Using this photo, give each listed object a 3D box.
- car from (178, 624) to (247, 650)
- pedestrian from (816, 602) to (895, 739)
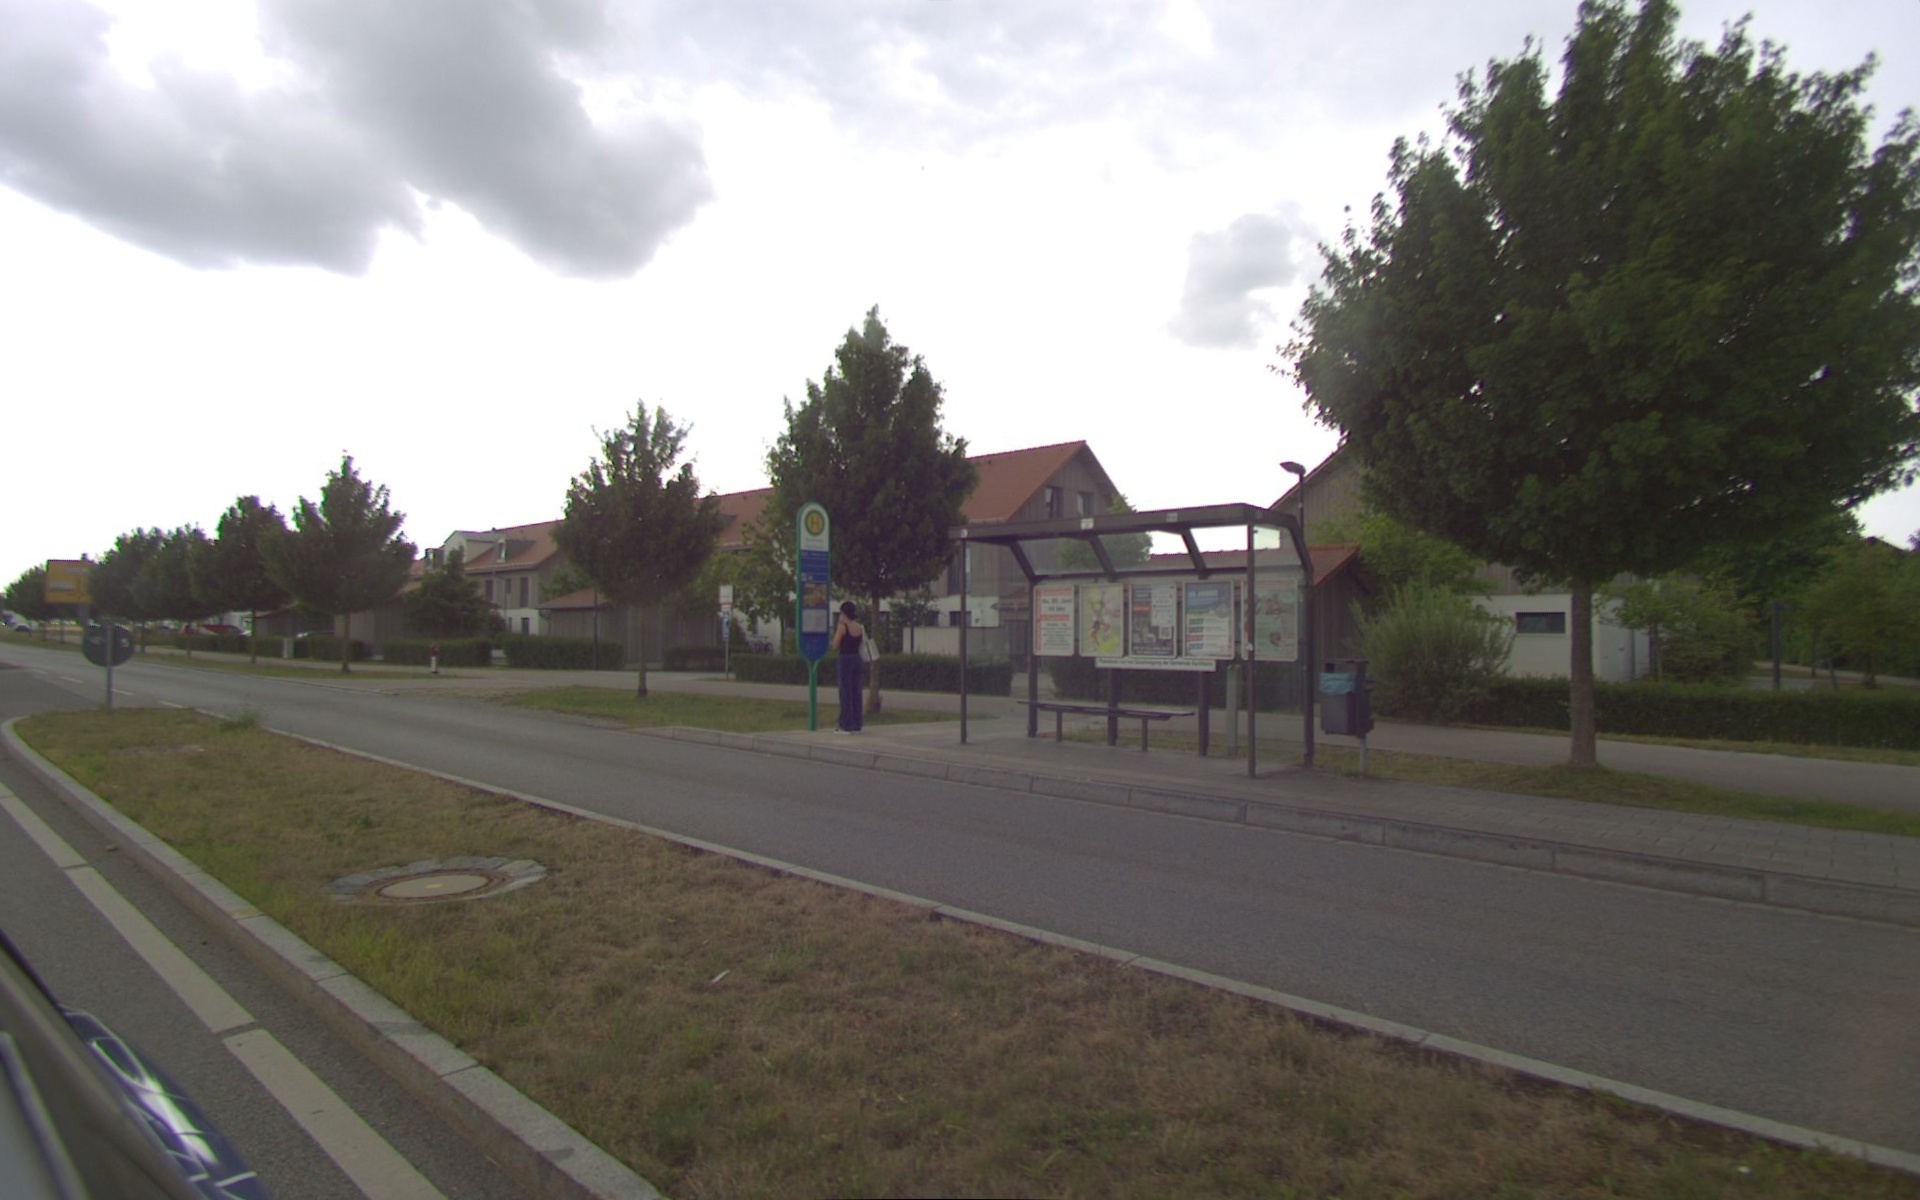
[{"bbox_3d":[-64.193,3.161,86.924,4.506,2.029,2.001,-1,0,-45],"label":"car"},{"bbox_3d":[-1.308,0.864,12.671,0.812,1.649,0.582,-1,-2,41],"label":"pedestrian"}]
